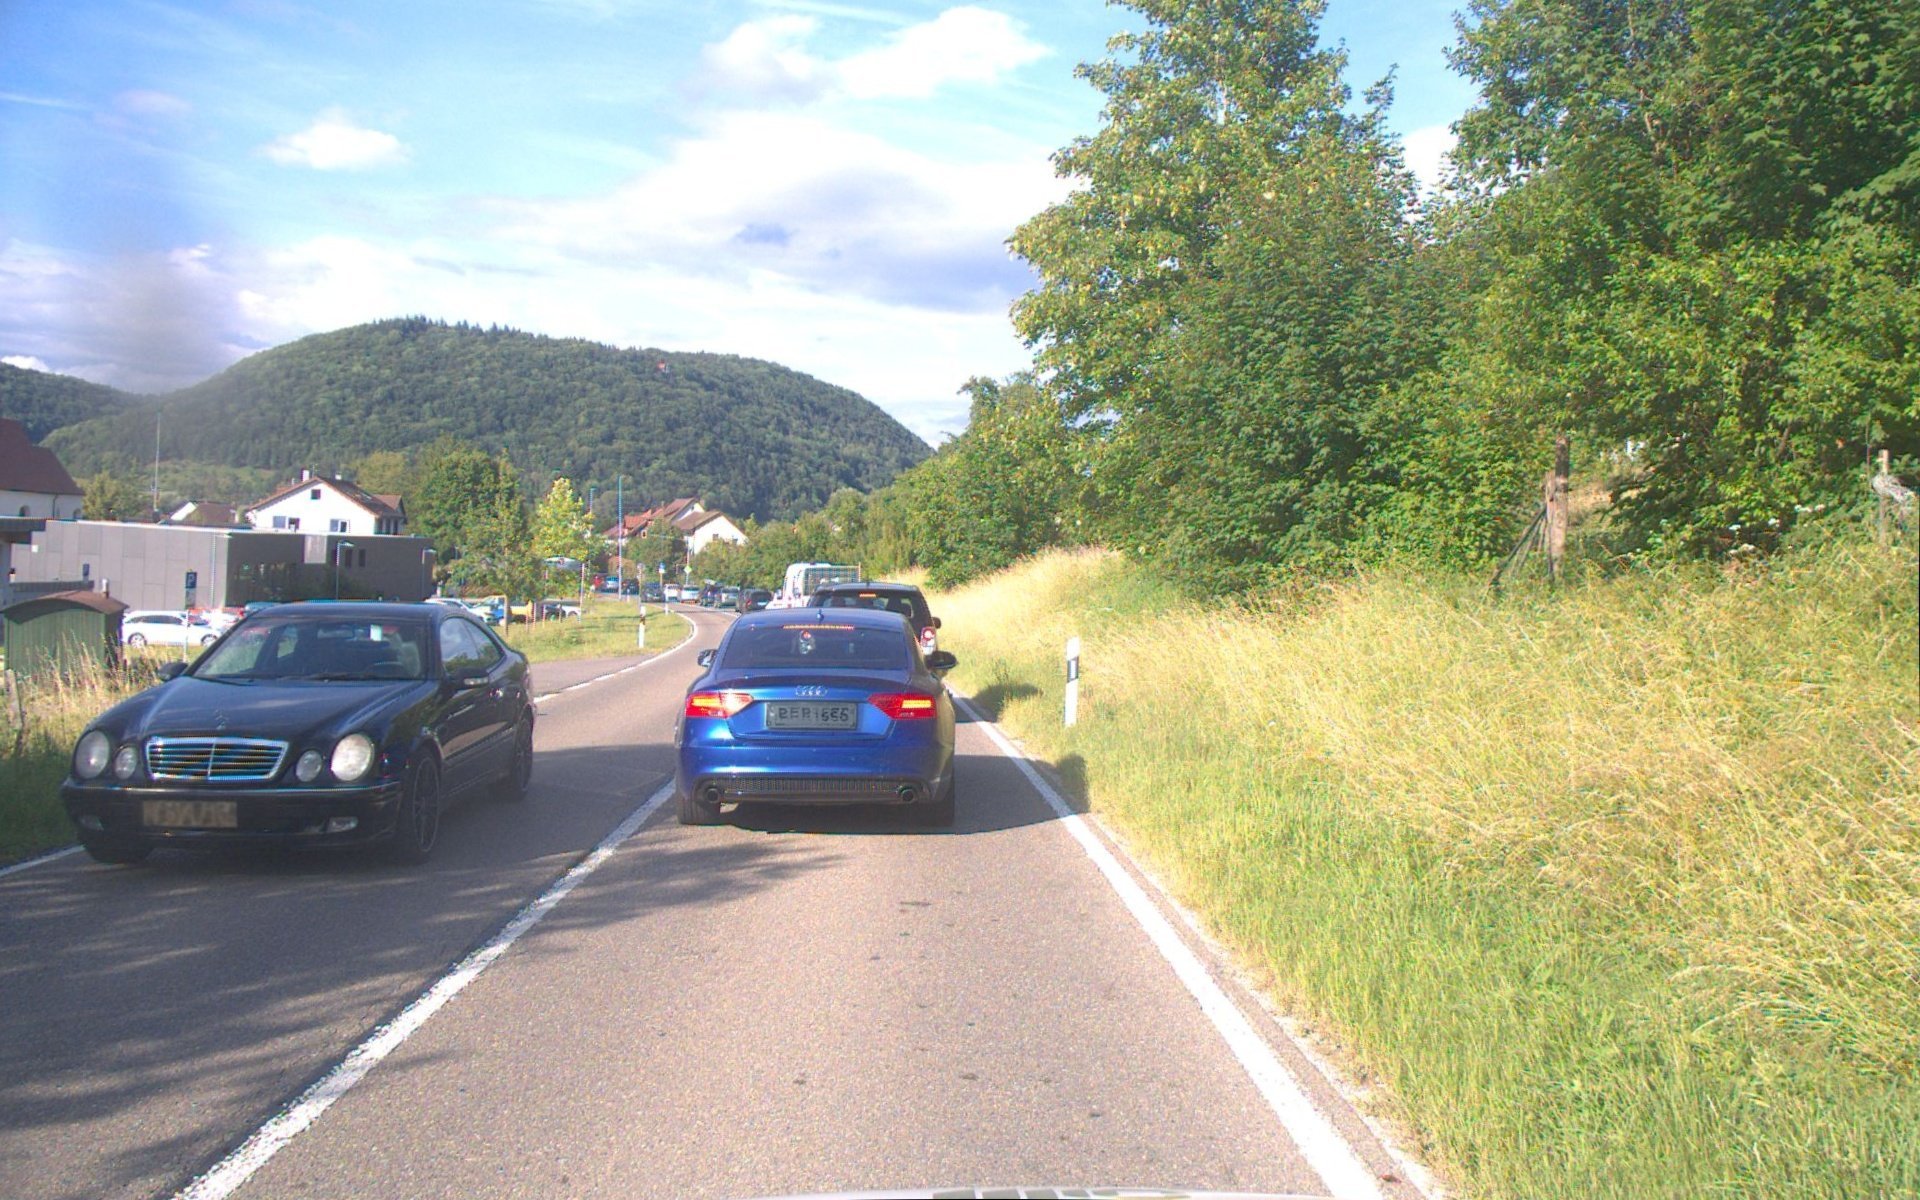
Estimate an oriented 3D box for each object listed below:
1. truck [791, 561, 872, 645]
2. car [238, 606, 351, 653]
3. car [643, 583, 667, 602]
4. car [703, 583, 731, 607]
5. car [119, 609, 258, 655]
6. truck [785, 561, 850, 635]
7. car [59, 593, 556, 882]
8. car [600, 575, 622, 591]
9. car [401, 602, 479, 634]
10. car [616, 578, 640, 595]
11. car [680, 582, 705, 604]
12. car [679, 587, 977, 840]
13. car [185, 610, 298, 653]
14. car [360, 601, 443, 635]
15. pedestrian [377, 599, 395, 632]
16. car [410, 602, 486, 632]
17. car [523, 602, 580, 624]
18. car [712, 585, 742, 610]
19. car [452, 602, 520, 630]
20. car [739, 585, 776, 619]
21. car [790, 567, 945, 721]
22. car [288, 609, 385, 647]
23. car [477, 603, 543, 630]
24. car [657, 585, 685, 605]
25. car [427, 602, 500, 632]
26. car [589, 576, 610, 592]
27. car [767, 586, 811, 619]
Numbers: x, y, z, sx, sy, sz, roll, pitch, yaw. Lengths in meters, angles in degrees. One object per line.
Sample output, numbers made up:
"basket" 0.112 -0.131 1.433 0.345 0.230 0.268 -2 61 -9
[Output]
"truck" -4.328 0.105 54.757 2.188 2.615 6.091 1 0 -9
"car" -30.287 1.328 75.408 4.320 2.043 1.998 1 0 -6
"car" -25.205 -0.604 136.765 1.675 1.455 4.035 1 0 -14
"car" -18.280 -0.384 124.364 1.813 1.742 3.988 1 0 -12
"car" -31.130 1.280 66.854 4.639 1.741 1.998 1 0 -6
"truck" -5.459 -0.058 62.628 2.187 2.615 6.697 1 0 -7
"car" -3.646 0.674 10.063 1.562 1.377 4.200 1 0 -4
"car" -39.055 -1.911 185.061 1.819 1.742 3.975 1 0 -21
"car" -29.835 1.012 94.973 3.909 1.741 1.998 1 0 -5
"car" -35.292 -1.453 175.752 1.819 1.742 3.975 1 0 -21
"car" -21.921 -0.524 135.349 1.813 1.742 3.988 1 0 -12
"car" -0.837 0.674 11.602 1.719 1.455 3.845 1 0 -2
"car" -30.261 1.305 69.769 3.909 1.741 1.998 1 0 -5
"car" -30.482 0.983 90.359 3.909 1.741 1.998 1 0 -5
"pedestrian" -36.517 0.989 105.172 0.809 2.049 0.972 1 -1 -3
"car" -30.492 1.017 98.598 3.909 1.741 1.998 1 0 -5
"car" -30.789 0.955 124.687 3.909 1.606 1.751 1 0 -6
"car" -16.472 -0.168 116.925 1.813 1.742 3.988 1 0 -12
"car" -30.802 1.049 107.660 3.909 1.741 1.998 1 0 -5
"car" -10.977 0.122 89.486 1.811 1.742 3.991 1 0 -9
"car" -1.109 0.502 20.565 1.719 1.710 3.845 1 0 -2
"car" -29.984 1.350 79.640 3.909 1.741 1.998 1 0 -5
"car" -29.988 1.072 110.209 3.909 1.741 1.998 1 0 -5
"car" -25.986 -0.412 148.607 1.819 1.742 3.975 1 0 -21
"car" -30.562 1.029 101.881 3.909 1.741 1.998 1 0 -5
"car" -42.410 -1.865 194.434 1.819 1.742 3.975 1 0 -21
"car" -8.071 0.118 77.928 1.811 1.508 3.991 1 0 -9
